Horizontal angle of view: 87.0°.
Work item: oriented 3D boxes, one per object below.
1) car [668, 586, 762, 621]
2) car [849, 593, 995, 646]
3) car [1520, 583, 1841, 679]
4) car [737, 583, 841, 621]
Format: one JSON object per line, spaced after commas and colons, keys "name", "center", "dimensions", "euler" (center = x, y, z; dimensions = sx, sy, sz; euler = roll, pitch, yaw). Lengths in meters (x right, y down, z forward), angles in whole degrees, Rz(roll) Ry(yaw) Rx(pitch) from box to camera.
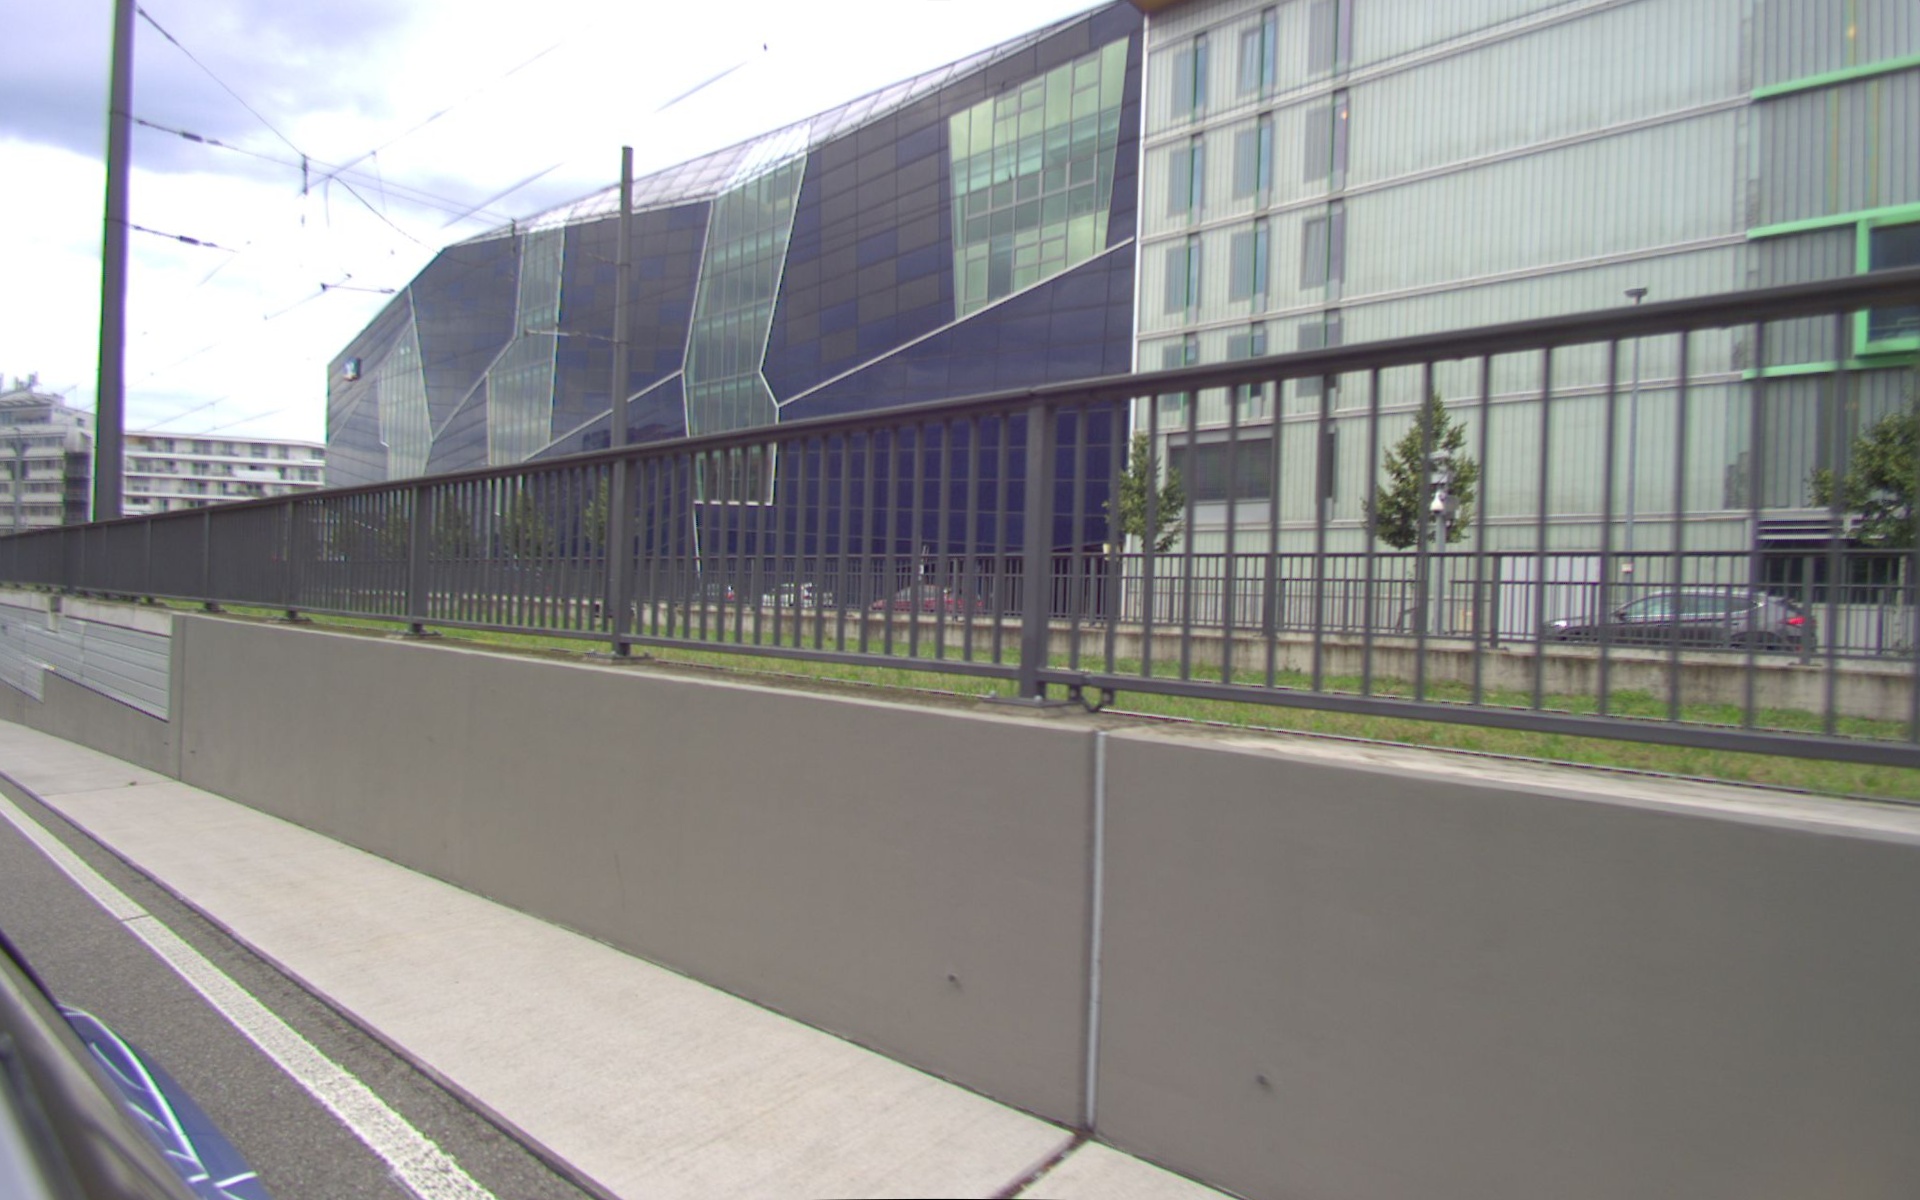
{"name": "car", "center": [-11.778, 0.208, 48.511], "dimensions": [4.762, 1.605, 1.973], "euler": [-1, -2, 40]}
{"name": "car", "center": [-1.299, 0.625, 32.805], "dimensions": [4.767, 1.605, 1.972], "euler": [-1, -2, 43]}
{"name": "car", "center": [13.569, 0.555, 19.262], "dimensions": [4.766, 1.605, 1.972], "euler": [-1, -2, 43]}
{"name": "car", "center": [-7.653, 0.107, 45.052], "dimensions": [4.762, 1.605, 1.973], "euler": [-1, -2, 40]}
